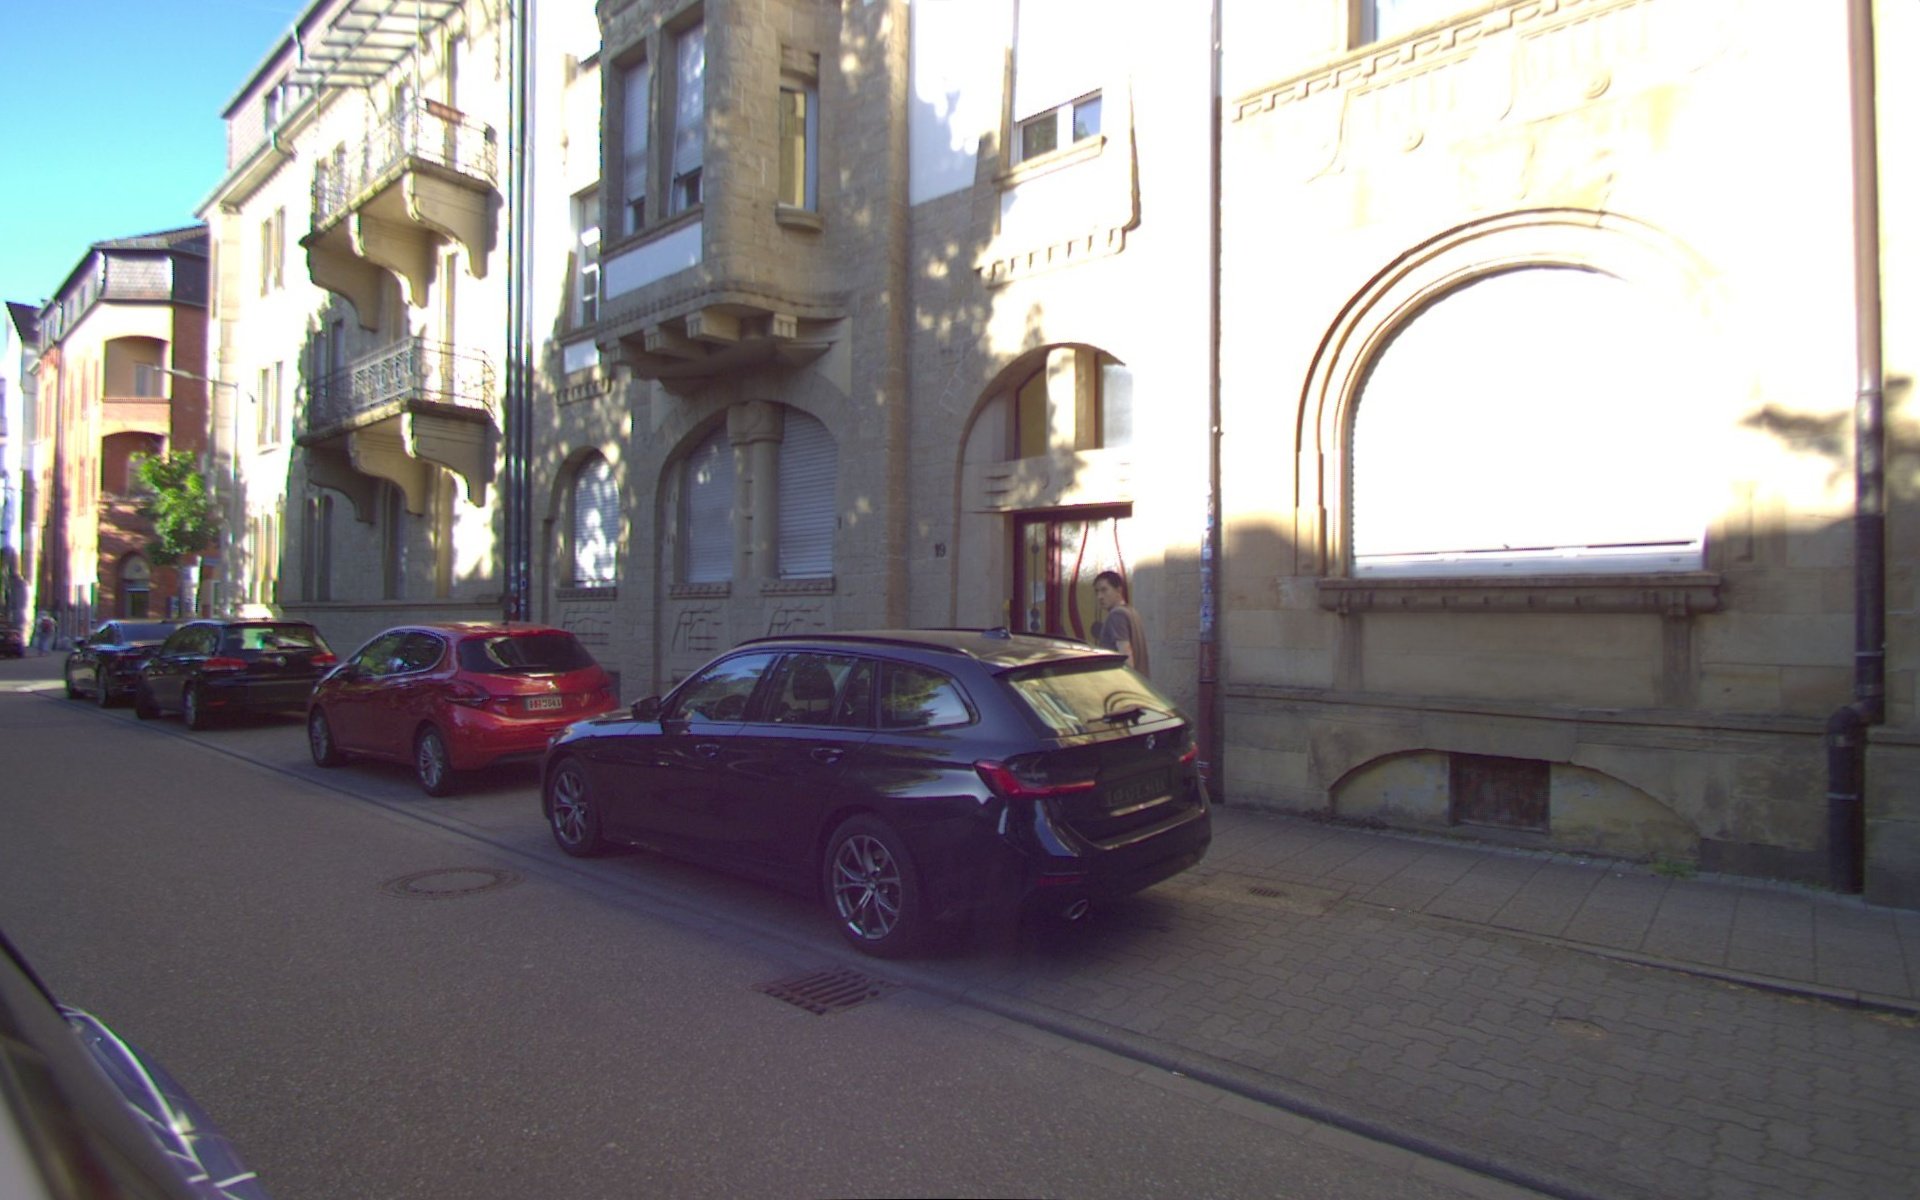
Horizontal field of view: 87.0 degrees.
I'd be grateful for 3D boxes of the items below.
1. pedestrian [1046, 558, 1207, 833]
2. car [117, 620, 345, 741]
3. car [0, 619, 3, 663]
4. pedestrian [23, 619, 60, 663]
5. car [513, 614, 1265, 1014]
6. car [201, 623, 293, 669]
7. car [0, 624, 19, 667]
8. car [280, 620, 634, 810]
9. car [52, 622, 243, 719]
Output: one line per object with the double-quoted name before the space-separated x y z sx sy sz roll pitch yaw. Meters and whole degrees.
"pedestrian" 1.172 0.613 7.061 0.734 1.755 0.928 0 0 41
"car" -10.500 1.038 14.481 4.024 1.464 1.679 0 -1 40
"car" -38.961 1.599 39.588 4.345 1.693 1.653 -1 -1 39
"pedestrian" -34.230 1.501 37.719 1.053 1.589 0.879 1 0 41
"car" -0.746 0.859 5.903 4.548 1.441 1.658 -2 -1 42
"car" -25.303 1.582 35.861 4.655 1.480 1.618 -1 -1 41
"car" -34.678 1.604 35.789 4.331 1.421 1.619 -1 1 41
"car" -4.955 0.952 9.770 3.833 1.464 1.613 -1 -1 39
"car" -14.717 1.160 18.223 4.895 1.437 1.793 -1 1 41
